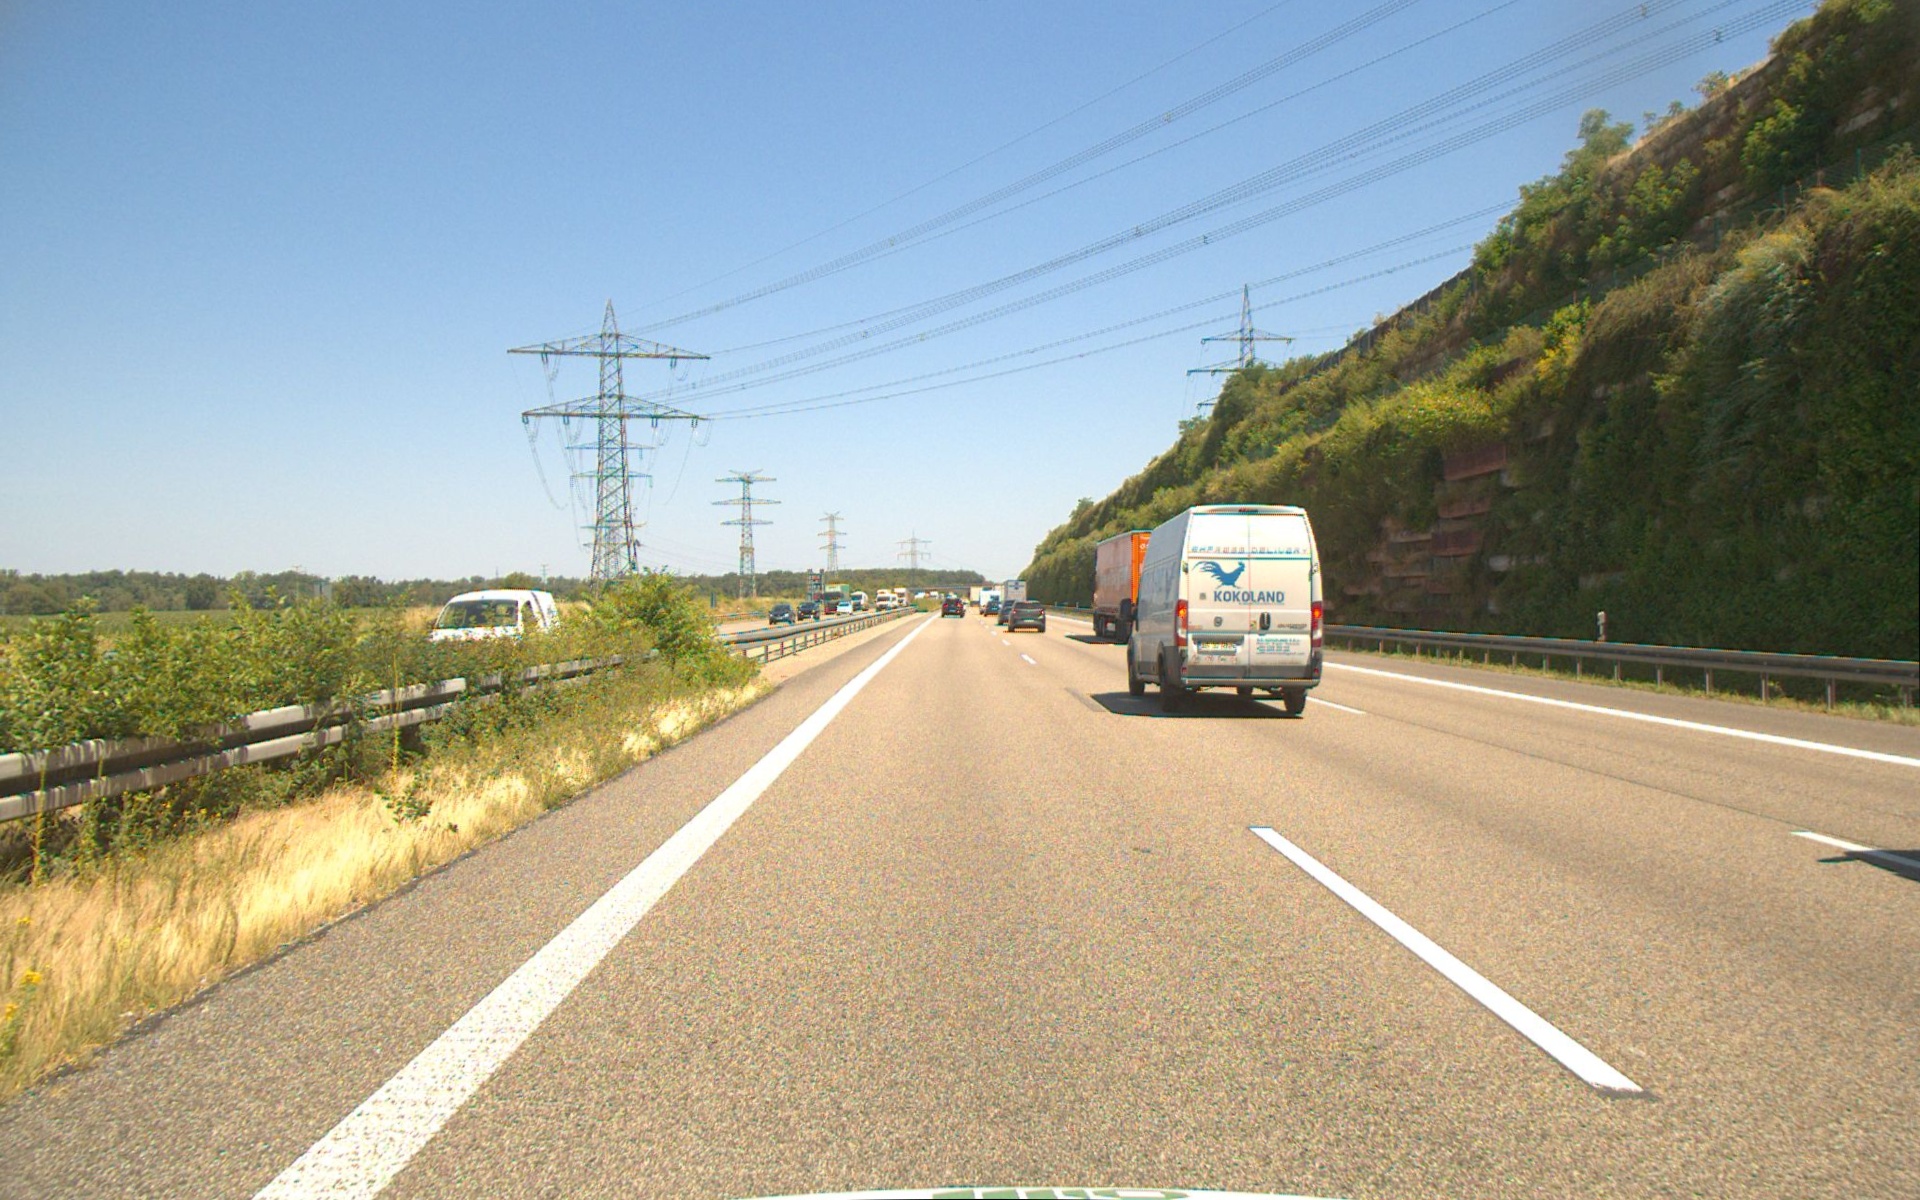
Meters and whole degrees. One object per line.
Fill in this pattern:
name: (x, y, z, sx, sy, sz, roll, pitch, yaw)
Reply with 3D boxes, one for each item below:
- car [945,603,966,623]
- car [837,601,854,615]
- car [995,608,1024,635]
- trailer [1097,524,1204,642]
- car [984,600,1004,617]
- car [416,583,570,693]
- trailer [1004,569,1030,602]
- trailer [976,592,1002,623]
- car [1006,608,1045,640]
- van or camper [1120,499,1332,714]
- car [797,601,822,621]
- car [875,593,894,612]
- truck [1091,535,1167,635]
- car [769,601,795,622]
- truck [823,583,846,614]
car: (-0.405, 1.163, 145.791, 1.792, 1.700, 4.000, -1, 0, 0)
car: (-14.021, 0.935, 202.345, 1.673, 1.550, 4.513, -3, 0, -1)
car: (3.114, 1.331, 105.034, 1.757, 1.682, 4.138, 0, 0, 0)
trailer: (7.139, -0.590, 63.878, 2.591, 4.075, 13.605, 0, 0, 0)
car: (3.253, 0.785, 157.747, 1.792, 1.552, 4.000, -1, 0, 1)
car: (-9.008, 0.680, 32.323, 1.727, 1.959, 4.770, -1, 0, -1)
trailer: (7.542, -1.904, 221.015, 3.118, 4.193, 13.431, -1, 0, 0)
trailer: (3.159, 0.856, 182.129, 2.557, 3.269, 9.952, -1, 0, 0)
car: (3.231, 1.170, 82.167, 1.713, 1.552, 3.995, 0, 0, 0)
van or camper: (3.805, 0.080, 24.980, 2.054, 2.817, 6.756, 0, 0, -1)
car: (-13.914, 1.014, 152.938, 1.803, 1.658, 4.413, -3, 0, 0)
car: (-9.712, 0.286, 213.044, 2.065, 2.338, 6.705, -1, 0, -1)
truck: (7.158, -0.608, 70.732, 2.564, 4.062, 6.526, 0, 0, 0)
car: (-13.747, 0.904, 128.064, 1.585, 1.485, 4.282, -4, 0, -2)
truck: (-17.500, -0.214, 230.672, 2.644, 4.207, 6.580, -1, 0, 0)
